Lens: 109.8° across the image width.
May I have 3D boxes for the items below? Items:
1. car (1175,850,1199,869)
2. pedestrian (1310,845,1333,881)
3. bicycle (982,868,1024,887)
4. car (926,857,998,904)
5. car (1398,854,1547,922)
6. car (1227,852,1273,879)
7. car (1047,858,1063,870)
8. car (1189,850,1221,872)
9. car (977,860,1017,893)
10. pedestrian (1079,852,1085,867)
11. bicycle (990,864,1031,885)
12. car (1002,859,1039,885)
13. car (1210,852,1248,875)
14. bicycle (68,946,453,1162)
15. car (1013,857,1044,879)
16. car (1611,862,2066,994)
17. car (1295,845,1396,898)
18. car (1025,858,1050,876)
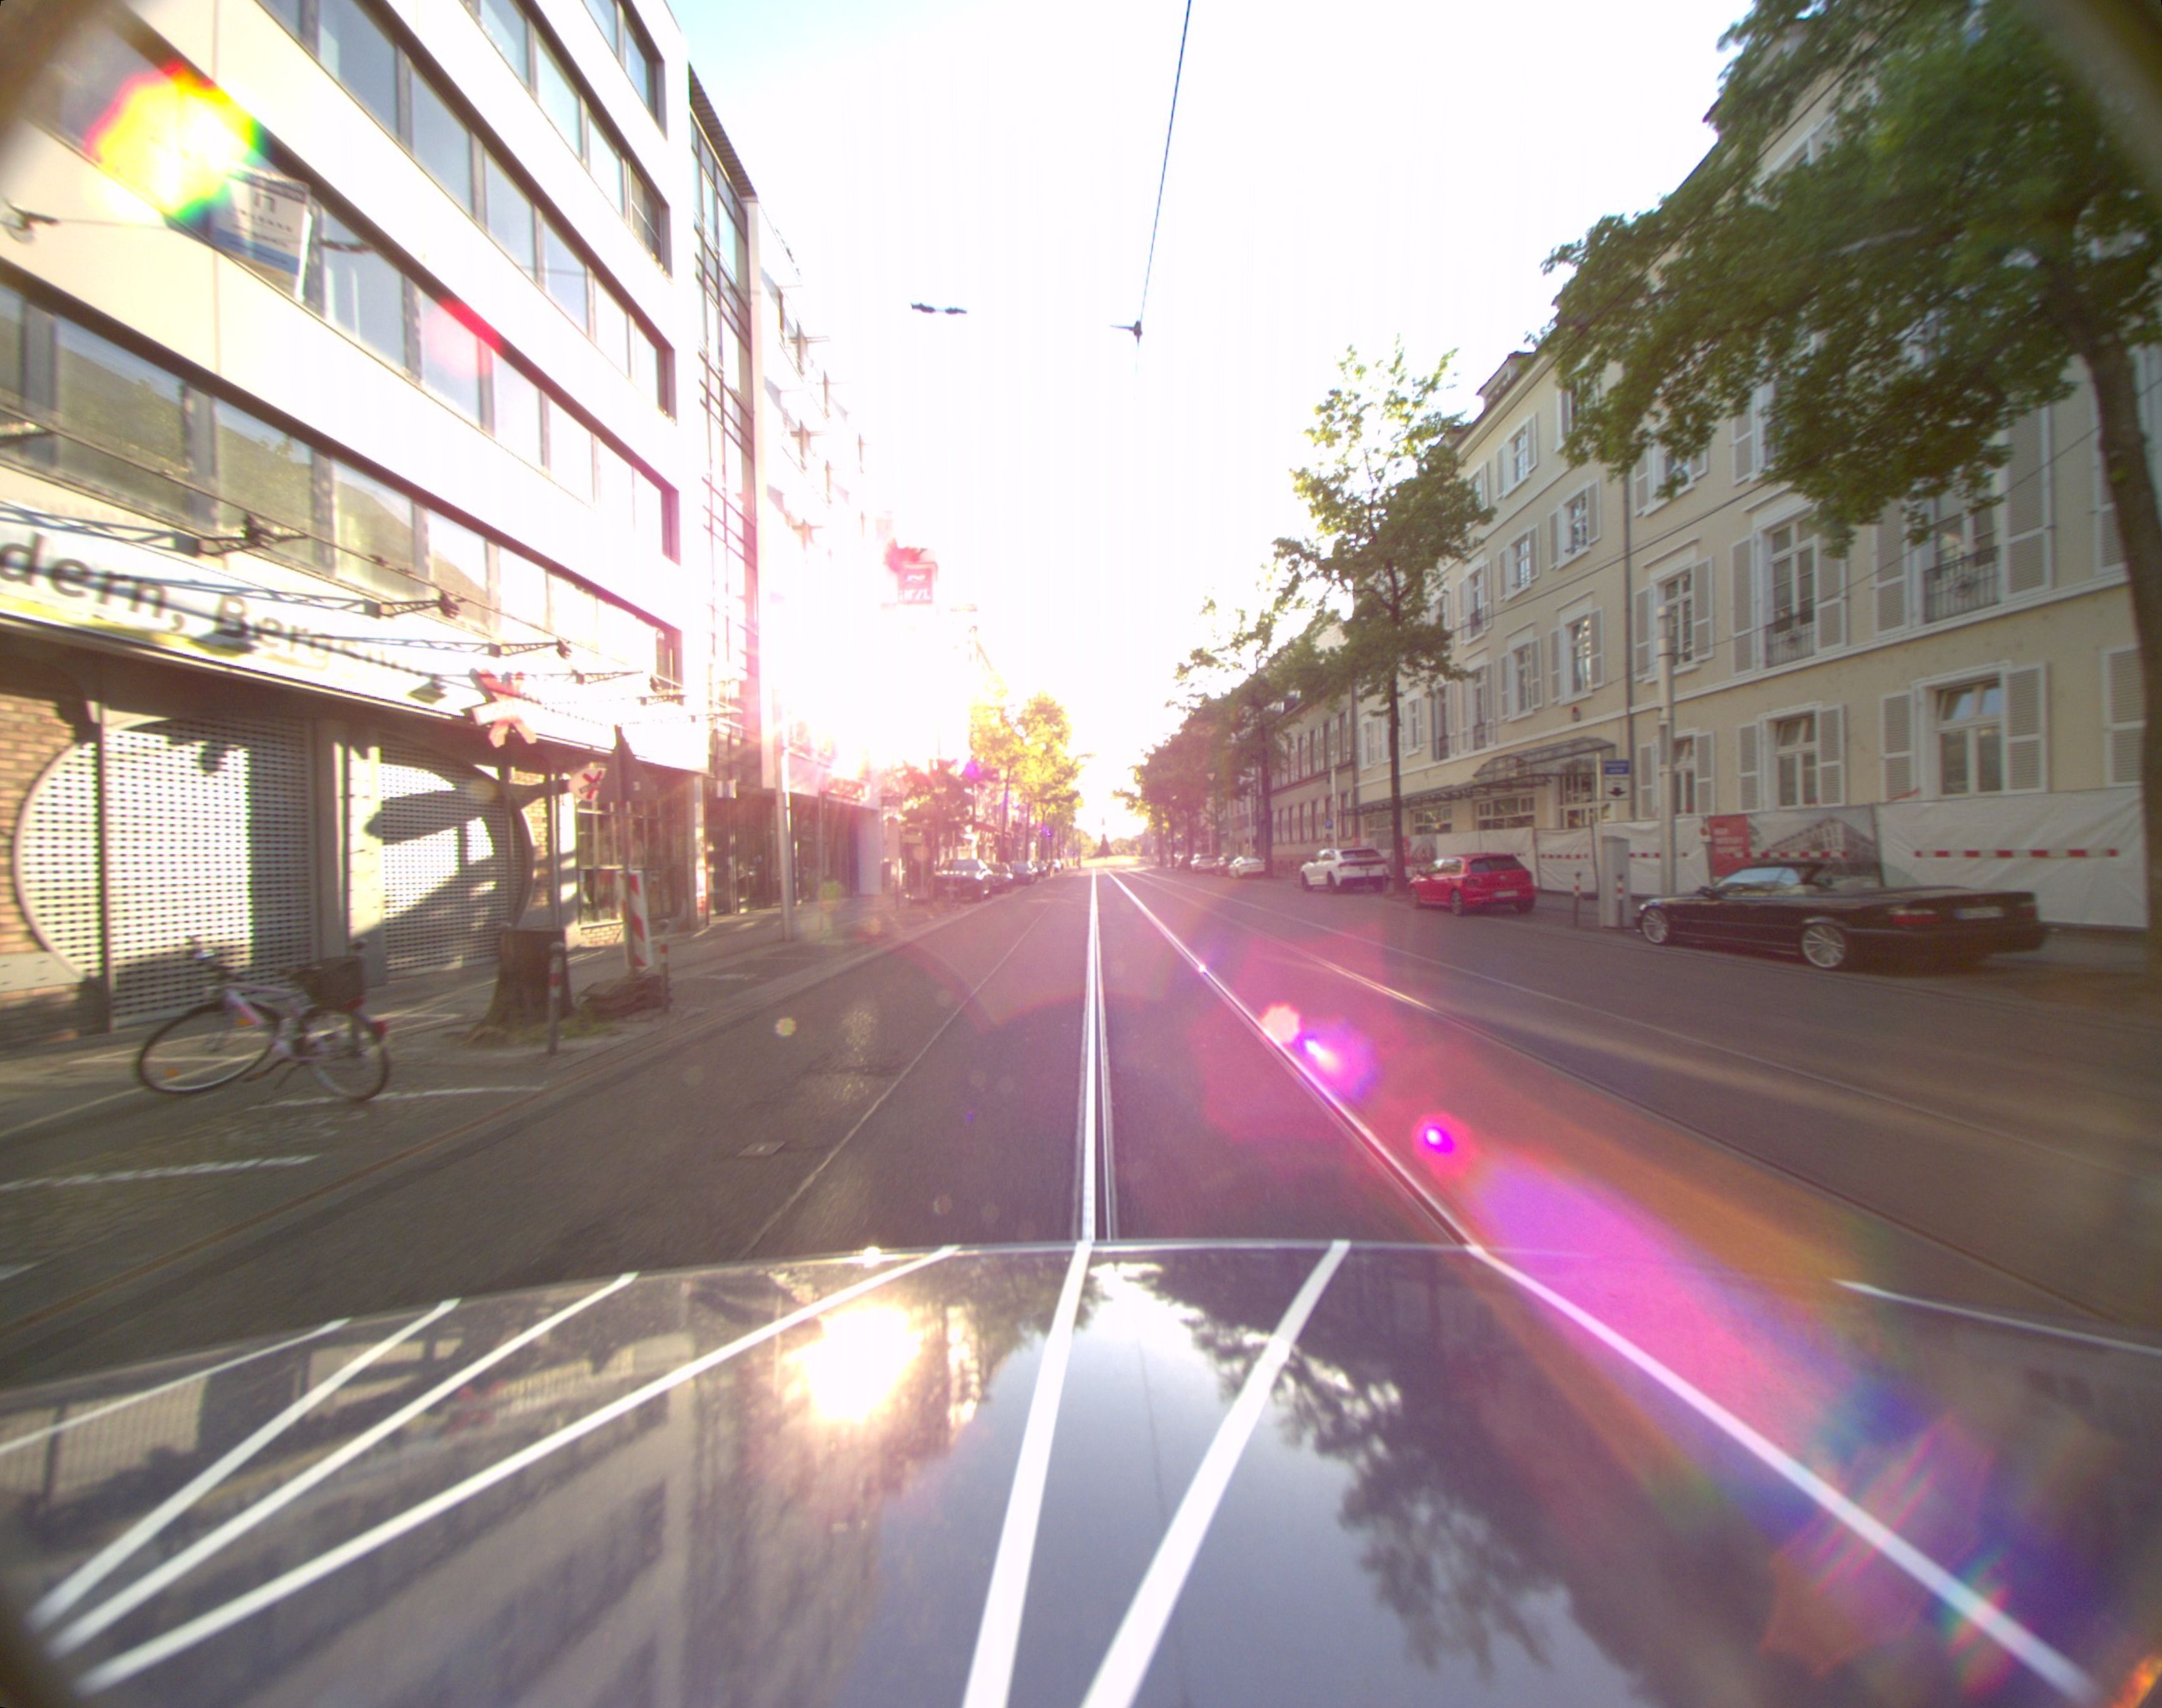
[{"bbox_3d":[11.308,0.566,81.480,1.931,1.946,4.766,-1,0,1],"label":"car"},{"bbox_3d":[11.974,0.457,37.878,0.746,1.732,0.934,-4,0,2],"label":"pedestrian"},{"bbox_3d":[-4.407,1.324,42.780,2.249,0.982,0.615,-2,0,3],"label":"bicycle"},{"bbox_3d":[-4.644,0.984,30.342,1.985,1.678,4.874,1,0,1],"label":"car"},{"bbox_3d":[9.677,0.769,19.199,1.664,1.397,4.141,-4,0,2],"label":"car"},{"bbox_3d":[10.409,0.660,47.151,1.897,1.458,4.617,-4,0,2],"label":"car"},{"bbox_3d":[-3.051,1.155,89.322,1.564,1.391,3.698,1,0,1],"label":"car"},{"bbox_3d":[10.828,0.580,66.610,1.952,1.731,4.766,-4,0,1],"label":"car"},{"bbox_3d":[-4.240,1.096,38.190,1.871,1.502,4.242,1,0,-7],"label":"car"},{"bbox_3d":[0.148,0.710,100.429,0.705,1.858,0.792,-2,0,-1],"label":"pedestrian"},{"bbox_3d":[-4.136,1.198,44.701,2.325,1.181,0.751,-2,0,2],"label":"bicycle"},{"bbox_3d":[-3.768,1.078,48.043,1.770,1.502,4.287,-2,0,2],"label":"car"},{"bbox_3d":[10.667,0.696,55.012,1.745,1.458,4.342,-4,0,-1],"label":"car"},{"bbox_3d":[-5.384,1.253,5.054,1.816,1.128,0.841,0,1,9],"label":"bicycle"},{"bbox_3d":[-3.833,1.035,56.457,1.869,1.502,4.287,1,0,1],"label":"car"},{"bbox_3d":[9.700,0.819,10.409,1.722,1.238,4.508,-4,0,1],"label":"car"},{"bbox_3d":[9.866,0.614,28.828,1.870,1.679,4.950,-4,0,-2],"label":"car"},{"bbox_3d":[-3.680,1.084,65.124,1.798,1.502,3.986,1,0,1],"label":"car"}]
